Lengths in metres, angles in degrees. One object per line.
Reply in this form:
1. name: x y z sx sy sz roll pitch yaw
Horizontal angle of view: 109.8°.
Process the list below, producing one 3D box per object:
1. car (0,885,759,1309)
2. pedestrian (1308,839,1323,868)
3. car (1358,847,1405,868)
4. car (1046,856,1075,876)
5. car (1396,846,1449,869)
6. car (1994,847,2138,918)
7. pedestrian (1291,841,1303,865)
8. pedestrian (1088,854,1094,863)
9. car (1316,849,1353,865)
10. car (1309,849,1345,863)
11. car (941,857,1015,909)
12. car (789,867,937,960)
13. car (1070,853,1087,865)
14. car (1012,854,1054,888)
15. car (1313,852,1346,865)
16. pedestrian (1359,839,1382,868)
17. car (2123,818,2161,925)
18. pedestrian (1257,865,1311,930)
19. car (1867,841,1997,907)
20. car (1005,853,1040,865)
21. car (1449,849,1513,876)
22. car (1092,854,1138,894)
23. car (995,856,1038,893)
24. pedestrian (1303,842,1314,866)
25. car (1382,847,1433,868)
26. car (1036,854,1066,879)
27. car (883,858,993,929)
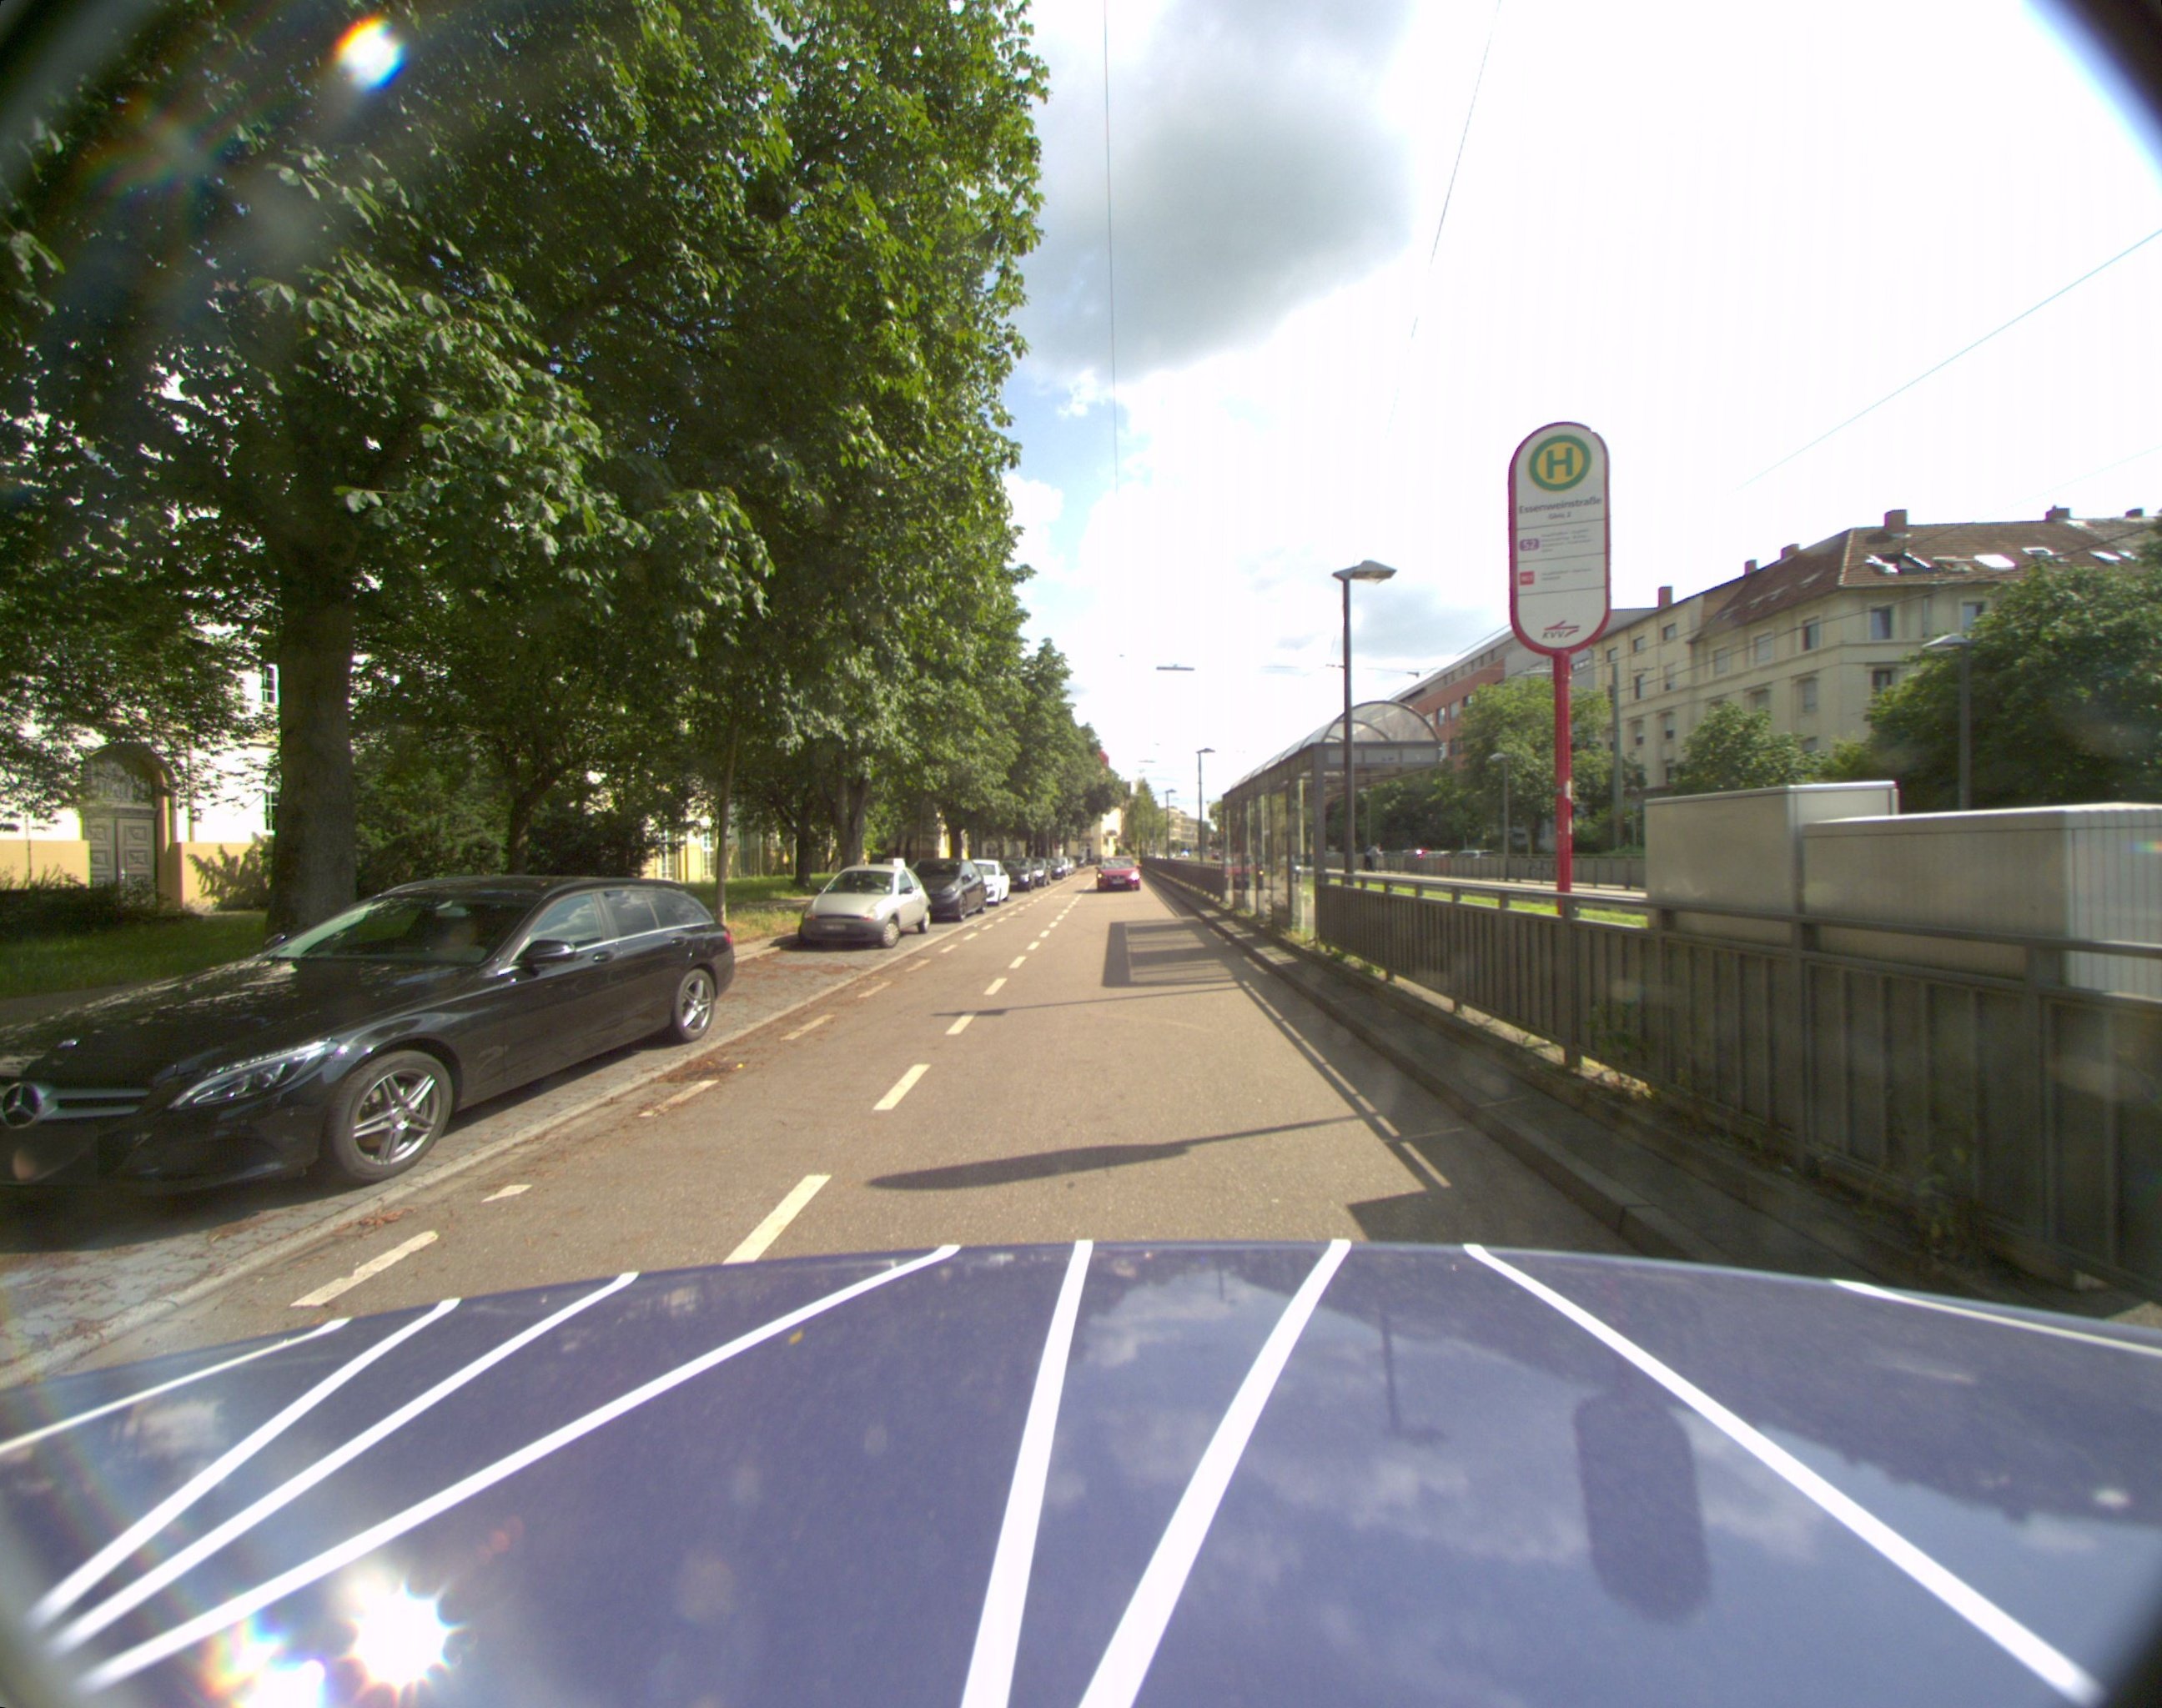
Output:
1. car: -4.346 1.056 5.409 1.922 1.433 4.797 1 0 2
2. pedestrian: 15.488 -0.064 50.193 0.752 1.881 0.639 -1 3 5
3. car: 25.852 0.316 65.317 4.006 1.520 1.669 -3 0 -34
4. car: -1.478 0.851 56.829 1.639 1.423 4.016 2 0 5
5. car: 25.522 0.262 56.715 4.144 1.630 1.829 -1 1 -37
6. car: 23.522 0.613 18.125 4.006 1.477 1.606 -1 0 -30
7. pedestrian: 15.639 -0.082 54.972 0.607 1.744 0.626 0 2 43
8. pedestrian: 1.528 0.703 112.898 0.804 1.238 0.892 -1 2 5
9. car: 25.787 0.340 77.252 3.316 1.412 1.581 -3 1 -27
10. car: 27.151 0.243 83.871 4.007 1.487 1.647 -1 0 -34
11. car: -3.348 0.909 25.400 1.840 1.515 4.253 1 0 0
12. car: -3.963 1.014 14.405 1.594 1.437 3.598 1 1 3
13. car: -0.271 0.598 89.267 1.689 1.379 3.924 0 1 3
14. car: -2.425 0.840 39.309 1.694 1.552 4.308 2 0 3
15. car: 26.289 0.458 80.309 3.258 1.296 1.600 -1 0 -32
16. pedestrian: 15.682 -0.022 41.176 0.991 1.569 0.798 -1 1 0
17. car: 22.930 0.302 15.129 3.957 2.058 2.045 -1 0 -28
18. pedestrian: 3.462 0.725 12.955 0.662 1.066 0.725 -1 0 37
19. car: 23.372 0.513 20.830 4.007 1.630 1.823 -1 -1 -34
20. car: -8.583 0.756 111.401 4.827 1.646 1.858 -1 2 13
21. car: 24.798 0.467 47.066 4.161 1.556 1.921 -1 1 -38
22. car: 1.440 0.795 32.084 1.790 1.499 4.000 -2 0 3
23. car: -2.831 0.873 34.125 1.559 1.453 3.558 2 1 0
24. pedestrian: 16.400 -0.009 54.793 0.608 1.665 0.625 -1 1 3
25. car: 25.624 0.240 59.608 4.006 1.559 1.606 -1 0 -31
26. car: -1.944 0.827 50.899 1.836 1.458 4.829 1 1 -1
27. car: -3.569 0.918 19.803 1.729 1.574 4.678 0 0 3
